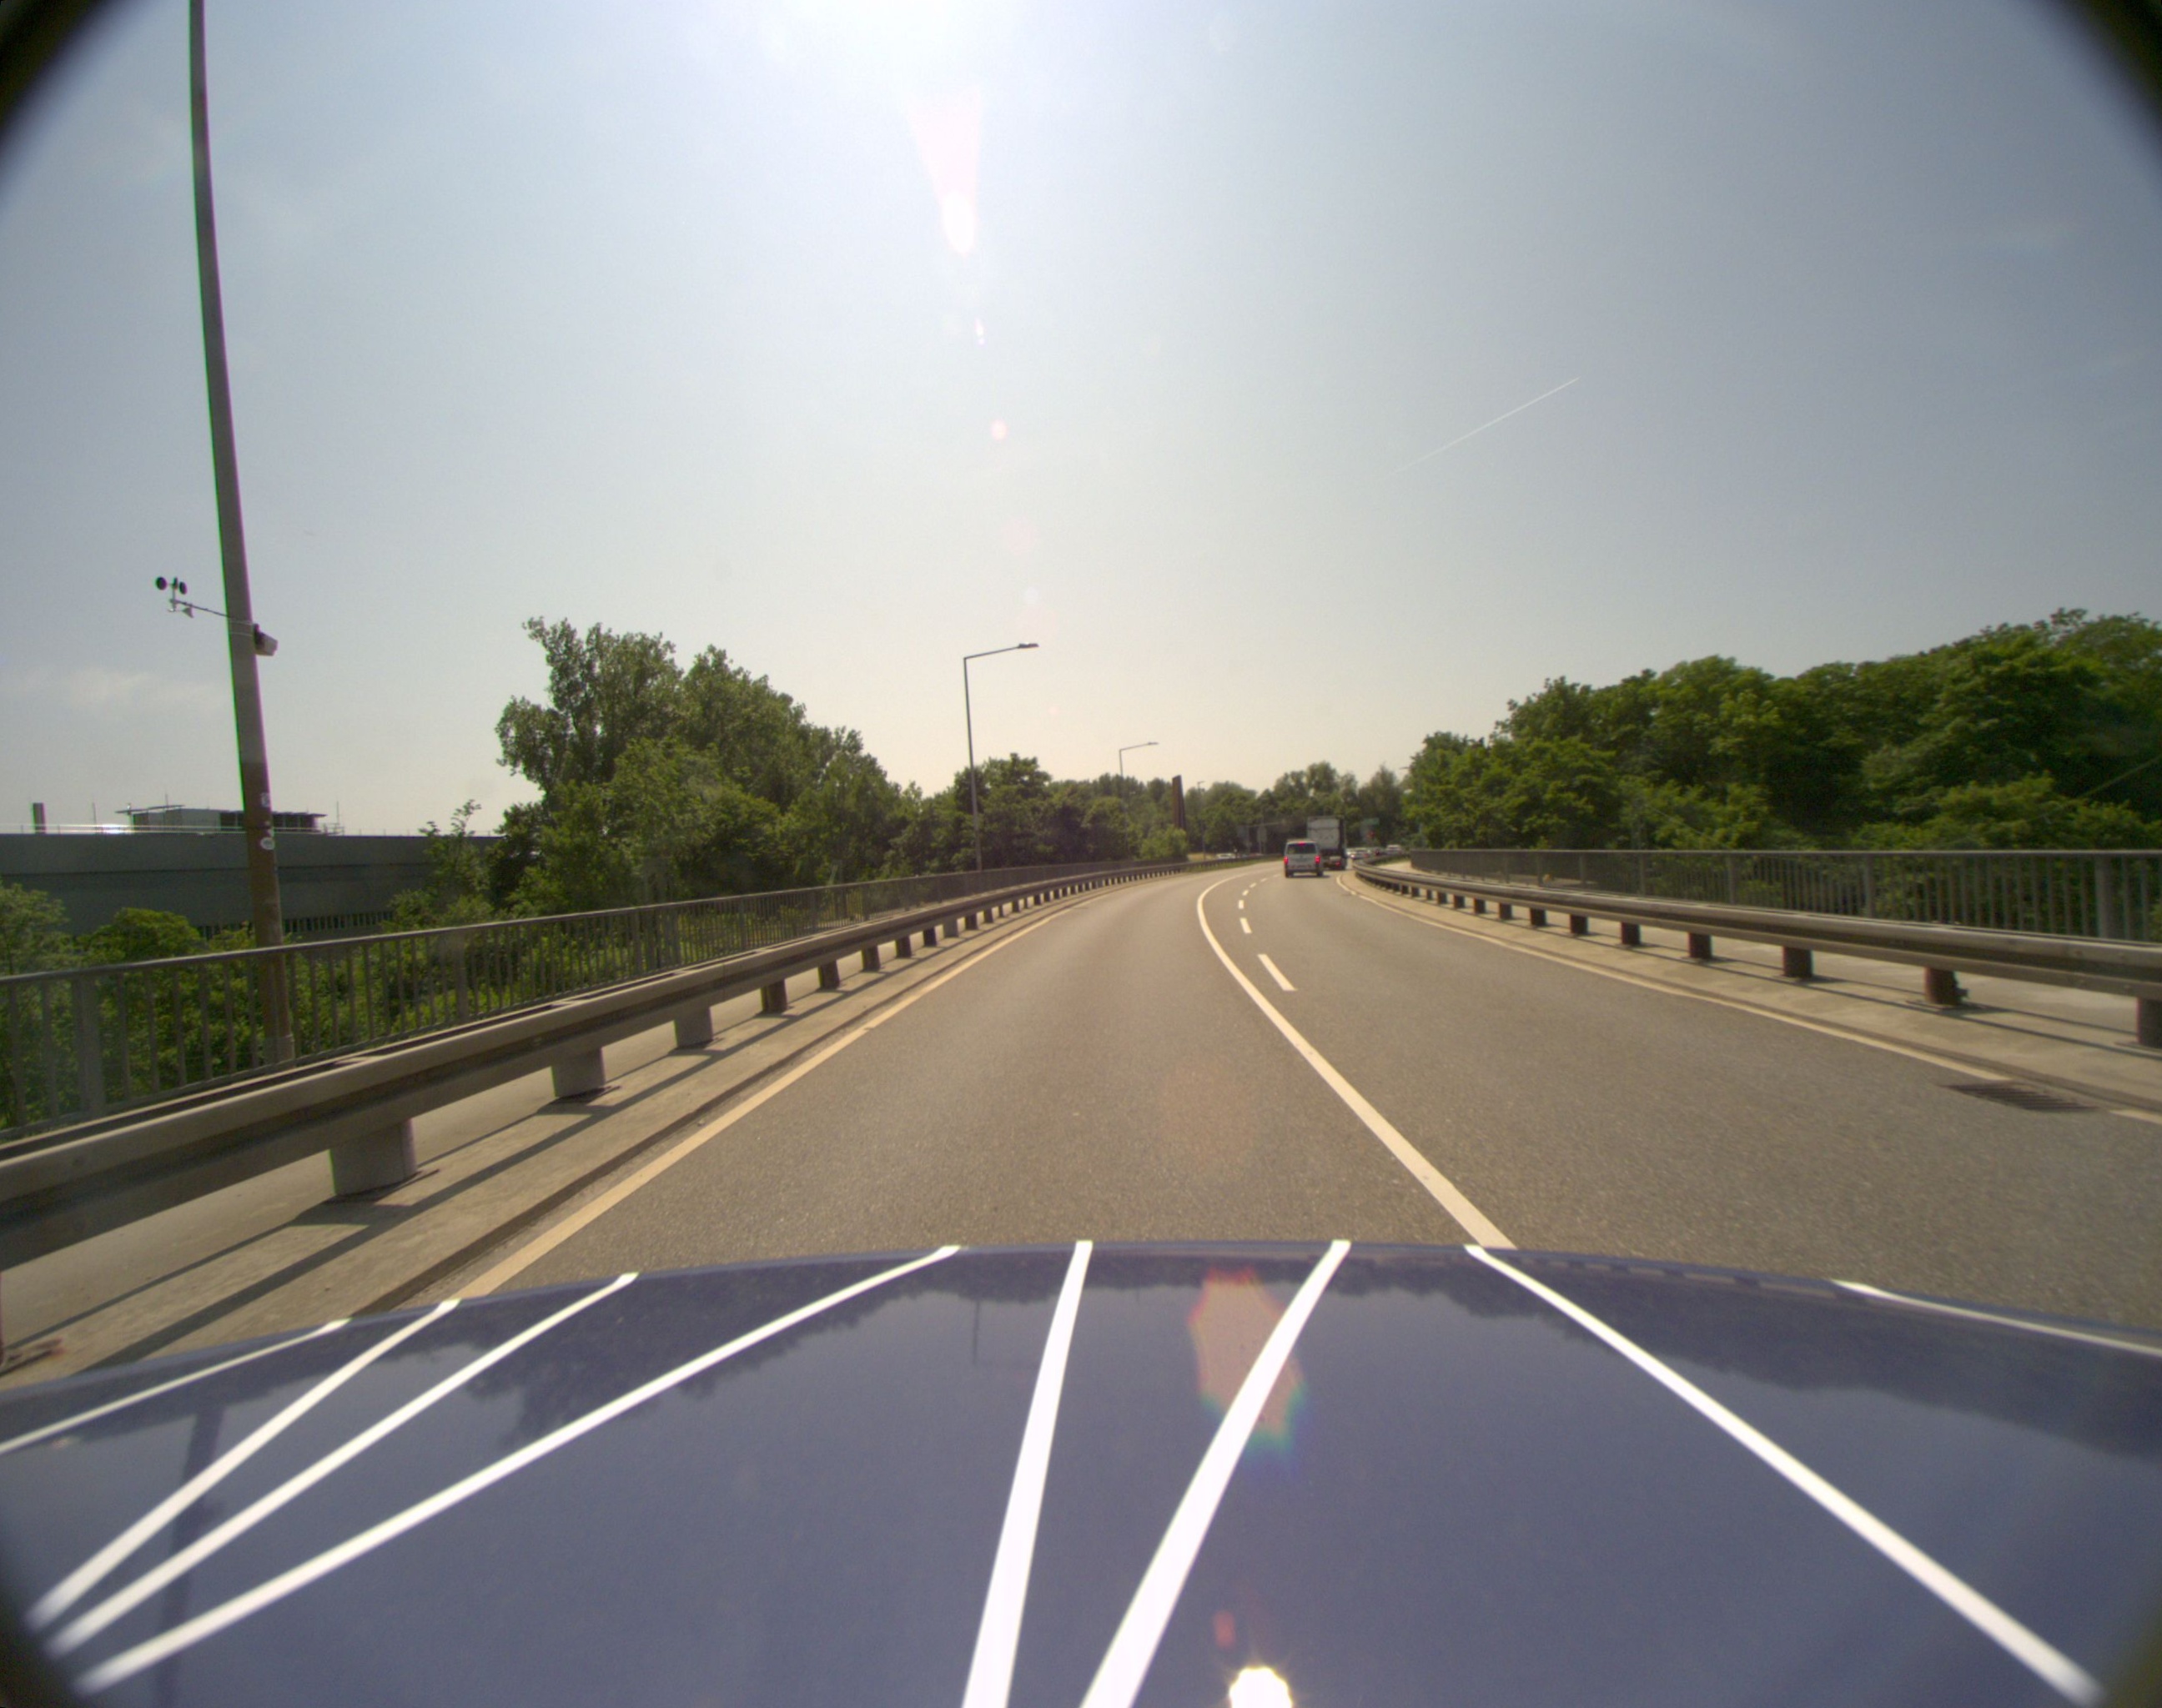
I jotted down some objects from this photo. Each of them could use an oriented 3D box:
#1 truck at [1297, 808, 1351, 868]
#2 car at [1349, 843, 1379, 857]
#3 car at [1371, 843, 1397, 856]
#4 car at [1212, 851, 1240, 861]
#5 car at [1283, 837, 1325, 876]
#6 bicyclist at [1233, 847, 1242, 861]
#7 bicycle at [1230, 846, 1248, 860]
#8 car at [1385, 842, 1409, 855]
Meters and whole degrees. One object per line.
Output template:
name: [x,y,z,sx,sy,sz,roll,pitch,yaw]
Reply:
truck: [17.144,-1.072,53.312,2.708,3.968,6.196,-1,0,26]
car: [31.635,-0.449,84.835,1.828,1.398,4.897,-1,1,36]
car: [35.878,-0.551,89.885,1.829,1.398,4.555,-1,0,36]
car: [23.367,0.325,122.327,1.871,1.497,4.287,-2,0,-34]
car: [12.251,0.129,41.604,1.863,1.988,4.820,-1,0,20]
bicyclist: [18.295,0.042,88.697,0.671,1.589,0.690,-3,0,-29]
bicycle: [18.405,-0.149,88.484,0.657,1.564,2.369,-3,0,-29]
car: [39.692,-0.704,95.303,1.829,1.629,4.587,-1,1,34]
